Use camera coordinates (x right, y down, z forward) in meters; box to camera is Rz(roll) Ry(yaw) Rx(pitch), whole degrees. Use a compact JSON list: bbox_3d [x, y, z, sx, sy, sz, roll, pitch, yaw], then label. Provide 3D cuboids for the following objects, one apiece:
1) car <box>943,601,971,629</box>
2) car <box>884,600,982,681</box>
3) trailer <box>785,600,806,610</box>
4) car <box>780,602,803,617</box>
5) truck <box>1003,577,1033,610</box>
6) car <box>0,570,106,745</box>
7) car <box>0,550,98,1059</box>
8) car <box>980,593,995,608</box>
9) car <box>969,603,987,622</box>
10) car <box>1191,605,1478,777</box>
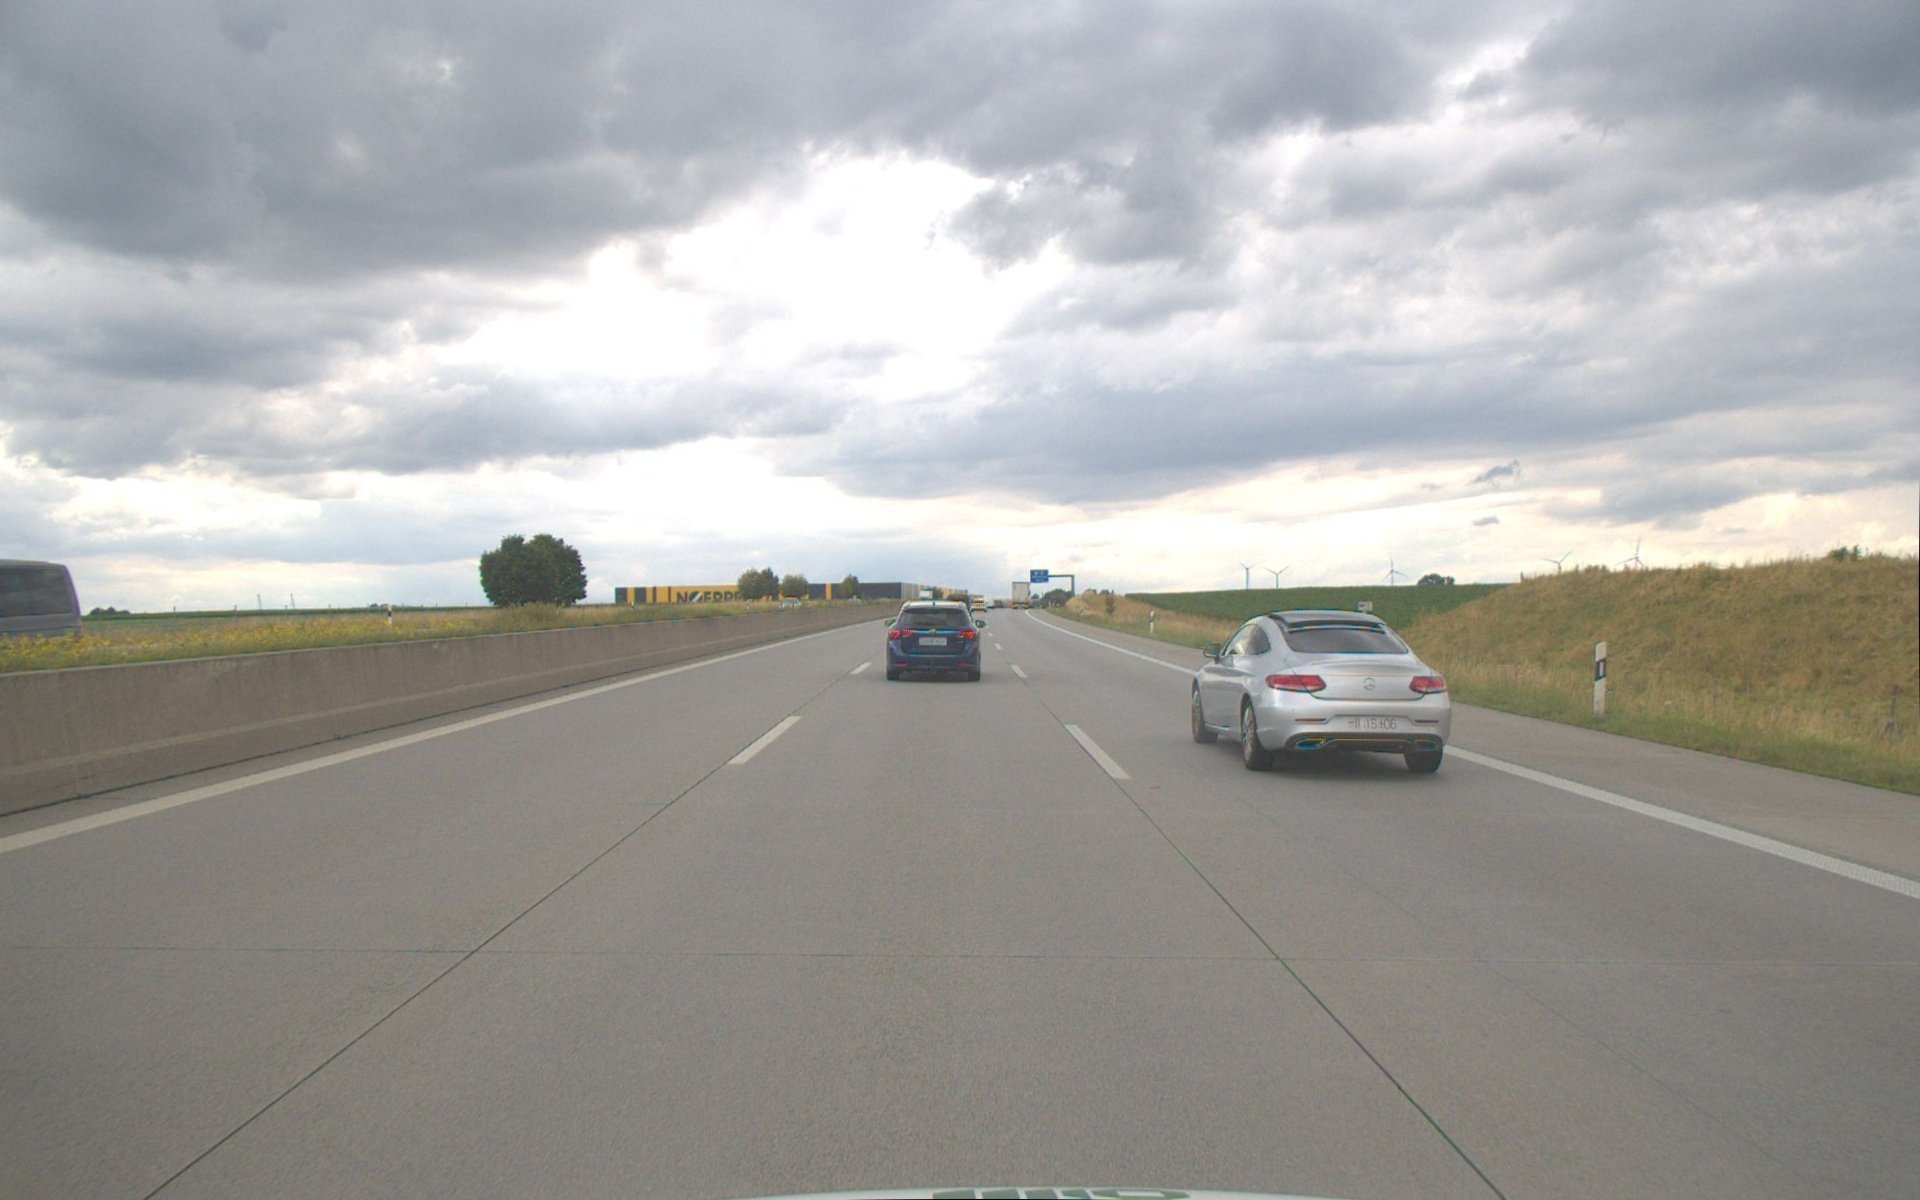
[{"bbox_3d":[-0.256,1.136,125.905,1.954,2.049,3.997,1,-1,-3],"label":"car"},{"bbox_3d":[-0.520,0.734,31.538,1.738,1.438,3.999,0,0,-1],"label":"car"},{"bbox_3d":[-17.436,0.517,175.247,1.750,1.000,3.563,1,-1,0],"label":"trailer"},{"bbox_3d":[-17.411,1.022,171.030,1.858,1.496,4.849,1,-1,1],"label":"car"},{"bbox_3d":[8.907,-0.981,255.049,3.870,4.839,12.072,1,-1,-1],"label":"truck"},{"bbox_3d":[-12.233,0.662,19.503,1.953,2.049,4.629,1,1,-1],"label":"car"},{"bbox_3d":[-3.836,0.637,3.244,1.757,1.624,5.154,1,0,-3],"label":"car"},{"bbox_3d":[3.890,0.080,234.411,1.953,2.049,3.999,1,-1,-1],"label":"car"},{"bbox_3d":[1.968,1.345,184.424,1.953,2.049,4.000,2,0,0],"label":"car"},{"bbox_3d":[3.439,0.779,15.995,1.752,1.428,4.220,0,0,-1],"label":"car"}]
